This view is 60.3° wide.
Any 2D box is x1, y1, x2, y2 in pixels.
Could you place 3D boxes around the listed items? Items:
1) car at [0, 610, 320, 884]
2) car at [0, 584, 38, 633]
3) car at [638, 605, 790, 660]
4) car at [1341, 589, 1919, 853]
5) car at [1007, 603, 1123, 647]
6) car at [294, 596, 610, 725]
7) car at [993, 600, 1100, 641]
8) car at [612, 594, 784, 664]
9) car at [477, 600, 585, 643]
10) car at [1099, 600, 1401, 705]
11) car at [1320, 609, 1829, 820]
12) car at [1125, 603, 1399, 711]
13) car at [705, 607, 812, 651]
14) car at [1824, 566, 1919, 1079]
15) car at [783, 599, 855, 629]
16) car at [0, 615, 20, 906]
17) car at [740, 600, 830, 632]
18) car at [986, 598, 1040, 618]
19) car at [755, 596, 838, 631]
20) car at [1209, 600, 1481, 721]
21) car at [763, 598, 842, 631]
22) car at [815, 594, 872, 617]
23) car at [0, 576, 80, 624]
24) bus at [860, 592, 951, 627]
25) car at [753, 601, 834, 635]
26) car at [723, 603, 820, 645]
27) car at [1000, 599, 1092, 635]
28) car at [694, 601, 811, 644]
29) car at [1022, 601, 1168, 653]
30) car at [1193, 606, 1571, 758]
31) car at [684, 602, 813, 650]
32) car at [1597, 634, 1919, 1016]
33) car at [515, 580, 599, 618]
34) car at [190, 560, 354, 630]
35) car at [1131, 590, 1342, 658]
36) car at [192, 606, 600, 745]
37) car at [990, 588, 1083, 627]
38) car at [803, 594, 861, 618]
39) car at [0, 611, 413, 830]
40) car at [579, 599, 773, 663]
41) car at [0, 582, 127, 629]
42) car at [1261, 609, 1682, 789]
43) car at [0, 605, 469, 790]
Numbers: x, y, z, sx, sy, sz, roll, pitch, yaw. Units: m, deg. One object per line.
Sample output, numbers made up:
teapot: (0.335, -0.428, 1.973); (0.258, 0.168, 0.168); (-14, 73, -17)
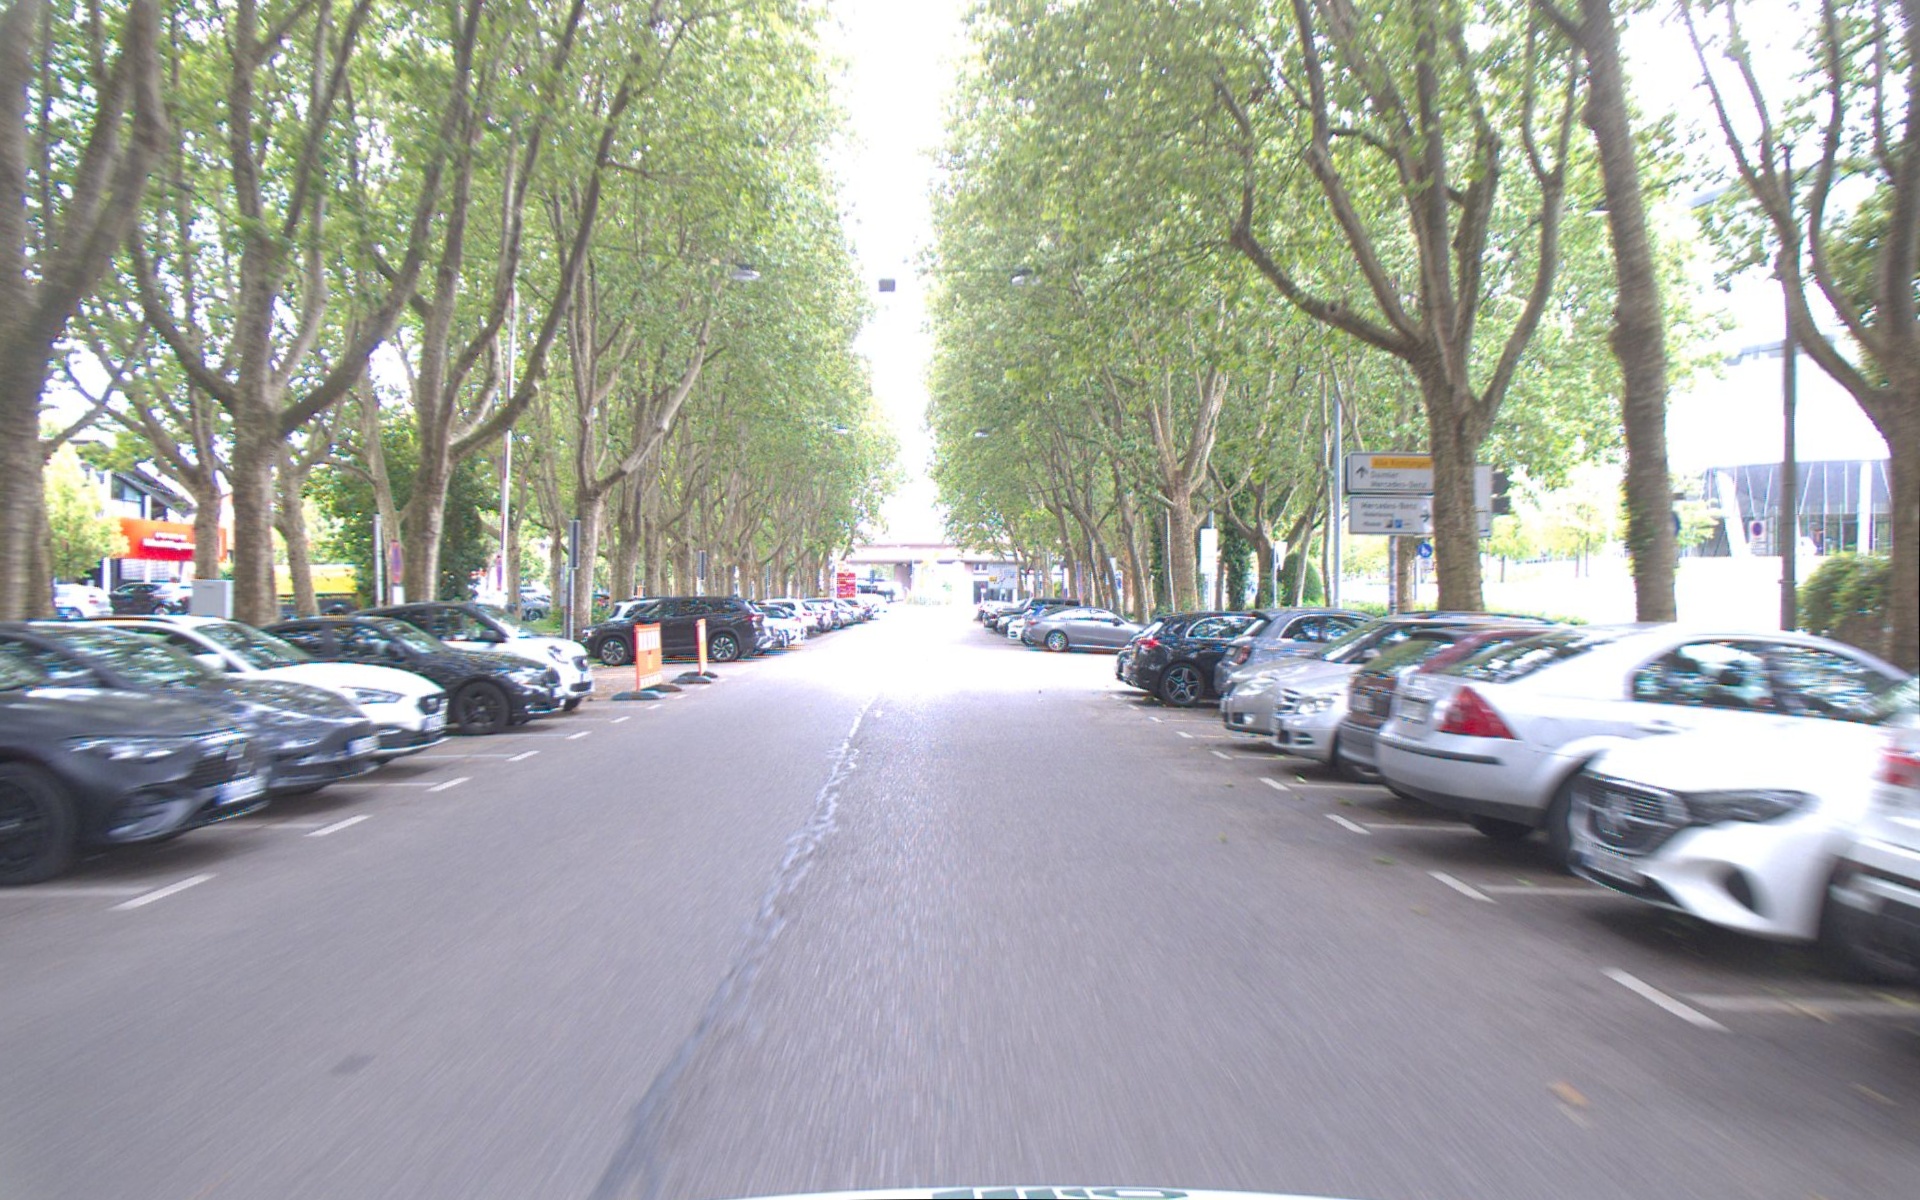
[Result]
car: (-6.125, 0.839, 9.857); (3.942, 1.455, 1.693); (-1, 0, -4)
car: (-33.335, 0.245, 55.676); (3.680, 1.617, 1.535); (1, 0, -4)
car: (-7.007, 0.907, 47.386); (4.084, 1.405, 1.870); (-2, 0, -3)
car: (4.472, 0.705, 10.468); (3.574, 1.448, 1.984); (1, 0, -5)
car: (3.766, 0.877, 59.472); (4.088, 1.467, 1.732); (1, 0, 4)
car: (-6.782, 0.779, 22.373); (3.751, 1.582, 1.693); (-1, 0, -4)
car: (3.372, 0.783, 64.519); (4.088, 1.467, 1.732); (1, 0, 4)
car: (-7.051, 0.762, 44.857); (4.382, 1.706, 1.761); (-2, 0, -3)
car: (-22.239, 1.107, 85.899); (4.972, 2.050, 2.176); (1, 0, 2)
car: (4.713, 0.838, 27.320); (4.566, 1.477, 1.925); (3, 0, -2)
car: (4.669, 0.848, 12.818); (3.358, 1.448, 1.518); (1, 0, -5)
car: (4.538, 0.845, 25.171); (3.840, 1.477, 1.555); (1, 0, -2)
car: (-7.630, 1.080, 62.736); (3.733, 1.510, 1.663); (-2, 0, 4)
car: (4.986, 0.781, 5.386); (3.574, 1.696, 1.518); (1, 0, -5)
car: (-7.871, 0.758, 92.556); (3.733, 1.542, 1.687); (-2, 0, 4)
car: (-6.716, 0.847, 7.666); (3.747, 1.455, 1.695); (-1, 0, 3)
car: (-7.906, 0.730, 74.895); (3.733, 1.319, 1.787); (-2, 0, 4)
car: (4.298, 0.634, 133.952); (4.287, 1.549, 1.731); (1, 0, 0)
car: (-7.908, 0.658, 80.280); (3.733, 1.542, 1.687); (-2, 0, 4)
car: (5.285, 0.814, 22.945); (3.356, 1.534, 1.555); (1, 0, -2)
car: (-8.047, 0.749, 84.669); (3.733, 1.542, 1.687); (-2, 0, 4)
car: (-8.041, 0.363, 114.098); (3.734, 1.542, 1.686); (1, 0, 2)
car: (-33.495, -0.033, 58.482); (3.902, 1.617, 1.695); (2, 0, 7)
bus: (-6.677, 1.151, 200.418); (11.353, 4.040, 2.451); (-1, -1, 29)
car: (-8.269, 0.898, 82.463); (3.733, 1.542, 1.687); (-2, 0, 4)
car: (-7.932, 1.014, 69.778); (3.733, 1.630, 1.787); (-2, 0, 4)
car: (3.840, 0.766, 74.566); (3.968, 1.494, 1.730); (1, 0, -4)
car: (-7.205, 0.781, 57.580); (3.733, 1.354, 1.663); (-2, 0, 4)
car: (4.248, 0.849, 52.354); (4.478, 1.512, 2.001); (1, 0, 4)
car: (4.424, 0.843, 17.635); (3.605, 1.448, 1.518); (1, 0, -3)
car: (-6.655, 0.811, 52.158); (3.733, 1.377, 1.663); (-2, 0, 4)
car: (4.899, 0.931, 7.310); (3.574, 1.434, 1.518); (1, 0, -5)
car: (-23.359, -0.069, 95.930); (4.261, 2.050, 2.176); (1, 0, 2)
car: (-23.758, -0.182, 57.217); (4.976, 2.271, 1.535); (1, 0, -3)
car: (6.989, 0.597, 41.981); (4.845, 1.427, 1.995); (3, 0, -12)
car: (-6.579, 0.855, 19.643); (4.247, 1.455, 1.693); (-1, 0, -4)
car: (3.684, 0.338, 79.827); (4.290, 1.782, 1.730); (1, 0, -4)
car: (-8.627, 0.390, 111.929); (3.734, 1.542, 1.686); (1, 0, 2)
car: (-6.200, 0.850, 12.235); (3.751, 1.455, 1.693); (-1, -1, -4)
car: (-7.157, 0.765, 42.047); (4.571, 1.452, 1.999); (-2, 0, -3)
car: (-33.366, 0.181, 61.541); (3.902, 1.617, 1.695); (2, 0, 7)
car: (4.565, 0.862, 15.077); (3.354, 1.448, 1.519); (1, 0, 1)
car: (-6.769, 0.823, 14.686); (4.314, 1.455, 1.693); (-1, 0, -4)
